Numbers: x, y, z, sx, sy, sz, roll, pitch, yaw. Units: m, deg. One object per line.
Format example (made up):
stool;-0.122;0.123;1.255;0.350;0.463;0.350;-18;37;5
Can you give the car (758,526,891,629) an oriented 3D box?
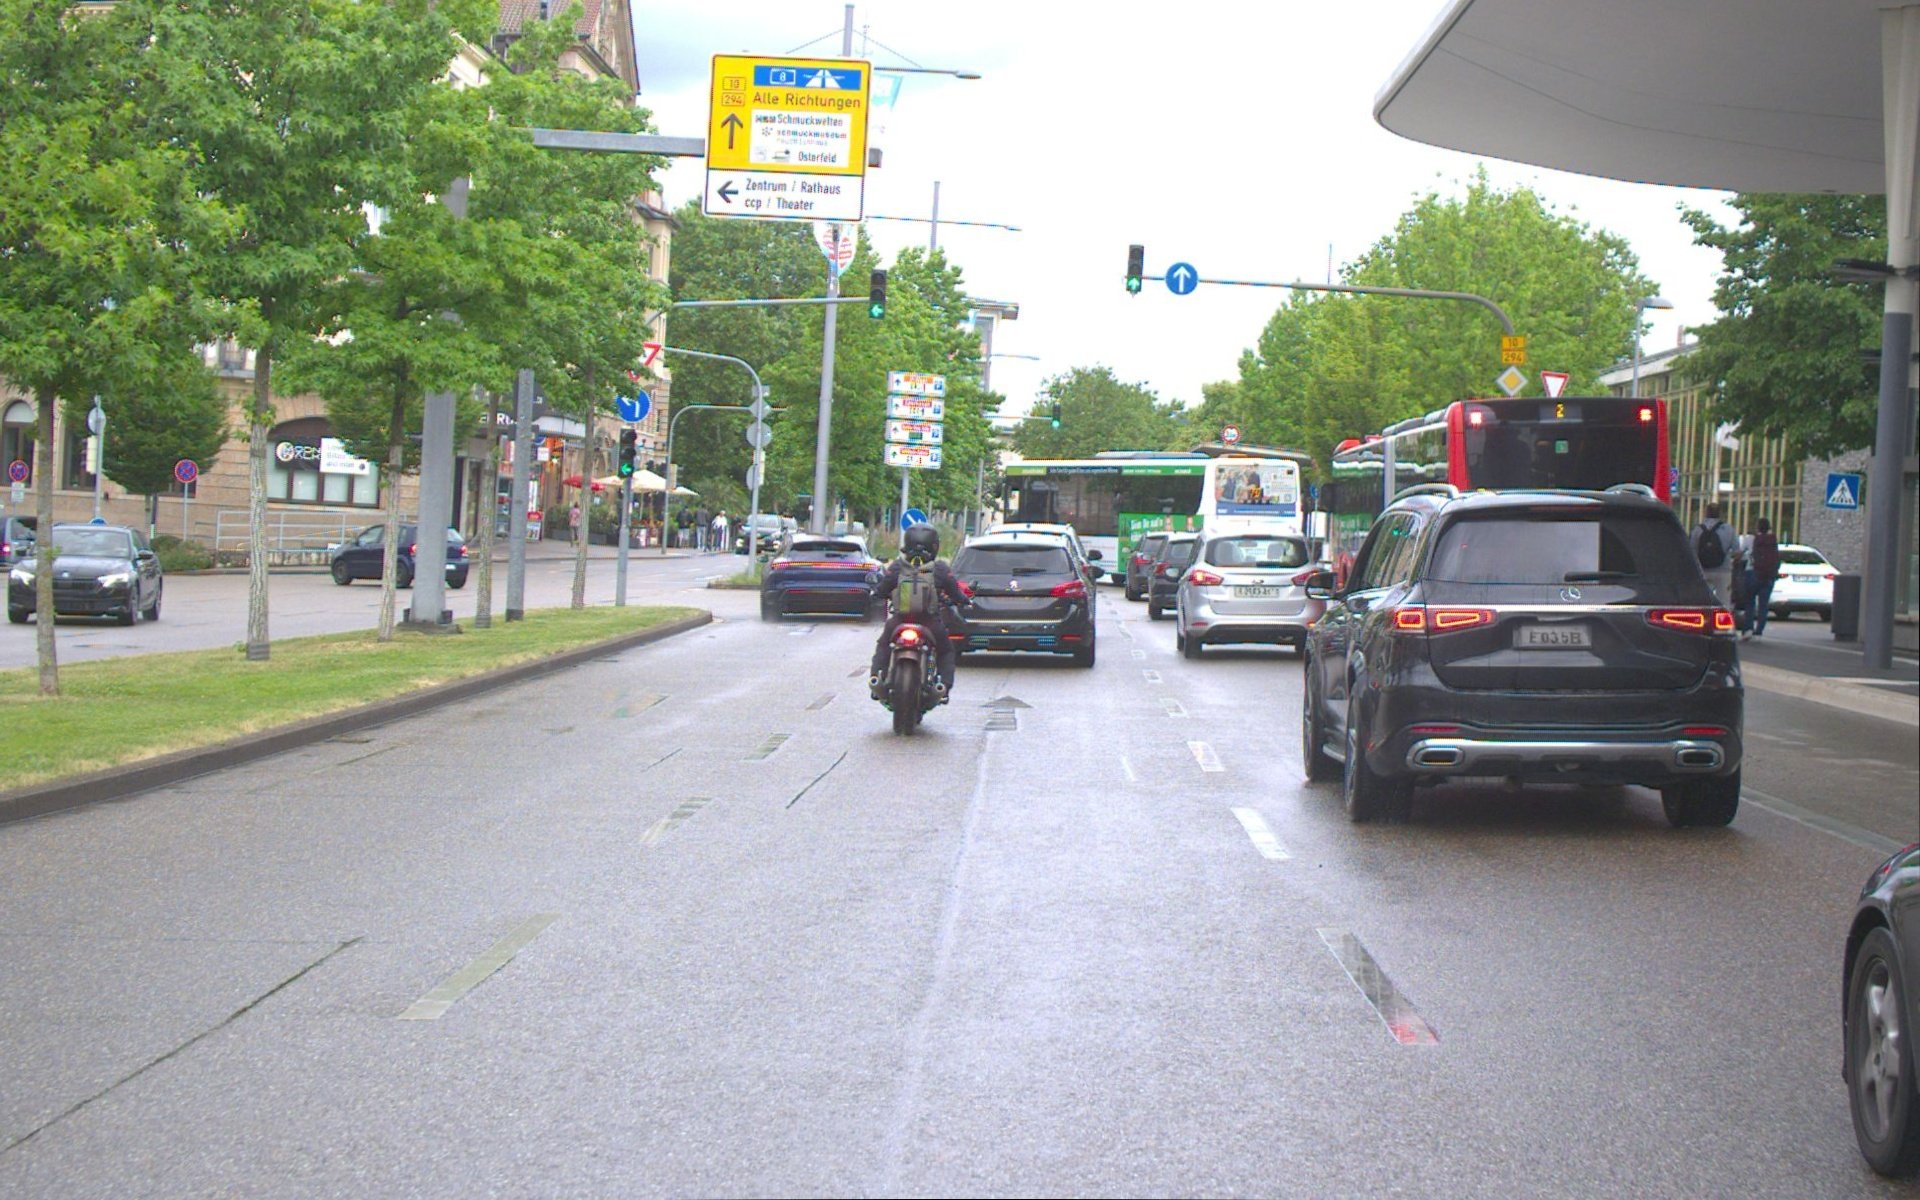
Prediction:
car;-2.106;-0.393;54.573;1.816;1.565;4.404;0;1;1

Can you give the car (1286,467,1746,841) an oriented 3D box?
car;3.014;0.213;19.670;1.957;1.869;4.873;0;1;1

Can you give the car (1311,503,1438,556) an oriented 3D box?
car;12.372;-2.108;102.876;1.576;1.562;3.795;-1;2;-37

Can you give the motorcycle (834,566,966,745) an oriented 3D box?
motorcycle;-0.431;0.389;25.696;0.793;1.258;1.855;1;1;5

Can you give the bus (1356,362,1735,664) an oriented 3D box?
bus;7.133;-1.082;43.689;3.286;3.280;10.877;1;1;2

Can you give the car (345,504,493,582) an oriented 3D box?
car;-12.113;-1.289;76.861;1.836;1.622;3.705;2;1;-34

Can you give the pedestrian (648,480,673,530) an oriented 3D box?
pedestrian;-11.917;-3.770;136.852;0.724;1.959;0.826;1;1;-25

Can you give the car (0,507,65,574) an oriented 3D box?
car;-26.370;-1.652;93.618;2.113;1.770;4.391;0;1;-41

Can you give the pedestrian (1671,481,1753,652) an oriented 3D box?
pedestrian;9.203;-0.412;42.063;0.778;2.006;0.781;5;2;14

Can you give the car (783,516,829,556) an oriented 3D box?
car;-6.079;-2.528;136.056;1.575;1.562;3.430;0;1;1

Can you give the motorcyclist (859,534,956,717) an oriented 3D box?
motorcyclist;-0.391;0.183;25.939;0.641;1.343;0.689;1;1;5

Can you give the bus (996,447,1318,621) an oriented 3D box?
bus;4.674;-1.673;85.604;2.837;3.974;11.867;2;1;-24

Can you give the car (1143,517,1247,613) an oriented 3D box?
car;3.938;-0.611;58.029;1.575;1.562;3.871;0;1;1

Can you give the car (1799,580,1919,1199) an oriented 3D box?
car;2.985;0.742;6.566;1.697;1.457;4.304;1;1;0

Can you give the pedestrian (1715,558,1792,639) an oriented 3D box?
pedestrian;10.482;-0.023;45.415;0.914;0.981;0.633;3;-3;16

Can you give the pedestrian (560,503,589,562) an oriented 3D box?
pedestrian;-13.377;-2.339;119.276;0.724;2.007;0.826;1;1;-25

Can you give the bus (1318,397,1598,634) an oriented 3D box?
bus;7.491;-1.284;53.004;3.291;3.278;8.849;1;1;2

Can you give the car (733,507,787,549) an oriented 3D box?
car;-7.537;-2.715;129.728;1.780;1.562;3.430;0;1;1

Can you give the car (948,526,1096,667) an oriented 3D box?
car;0.739;-0.079;38.628;1.575;1.499;3.871;0;1;2

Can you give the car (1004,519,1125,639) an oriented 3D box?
car;1.410;-0.320;46.777;1.575;1.562;3.871;0;1;1

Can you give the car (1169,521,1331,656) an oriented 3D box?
car;3.496;-0.181;41.989;1.741;1.562;3.871;0;1;1

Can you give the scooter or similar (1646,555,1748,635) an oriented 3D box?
scooter or similar;9.779;-0.068;45.609;1.244;1.009;0.763;2;0;16

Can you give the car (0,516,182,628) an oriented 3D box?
car;-12.766;-0.436;50.410;1.680;1.522;4.640;2;1;-1

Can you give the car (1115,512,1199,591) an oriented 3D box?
car;3.987;-1.002;69.974;1.575;1.562;3.796;0;1;1

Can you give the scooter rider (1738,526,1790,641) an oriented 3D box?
scooter rider;10.621;-0.214;45.401;0.592;1.485;0.764;2;0;15
